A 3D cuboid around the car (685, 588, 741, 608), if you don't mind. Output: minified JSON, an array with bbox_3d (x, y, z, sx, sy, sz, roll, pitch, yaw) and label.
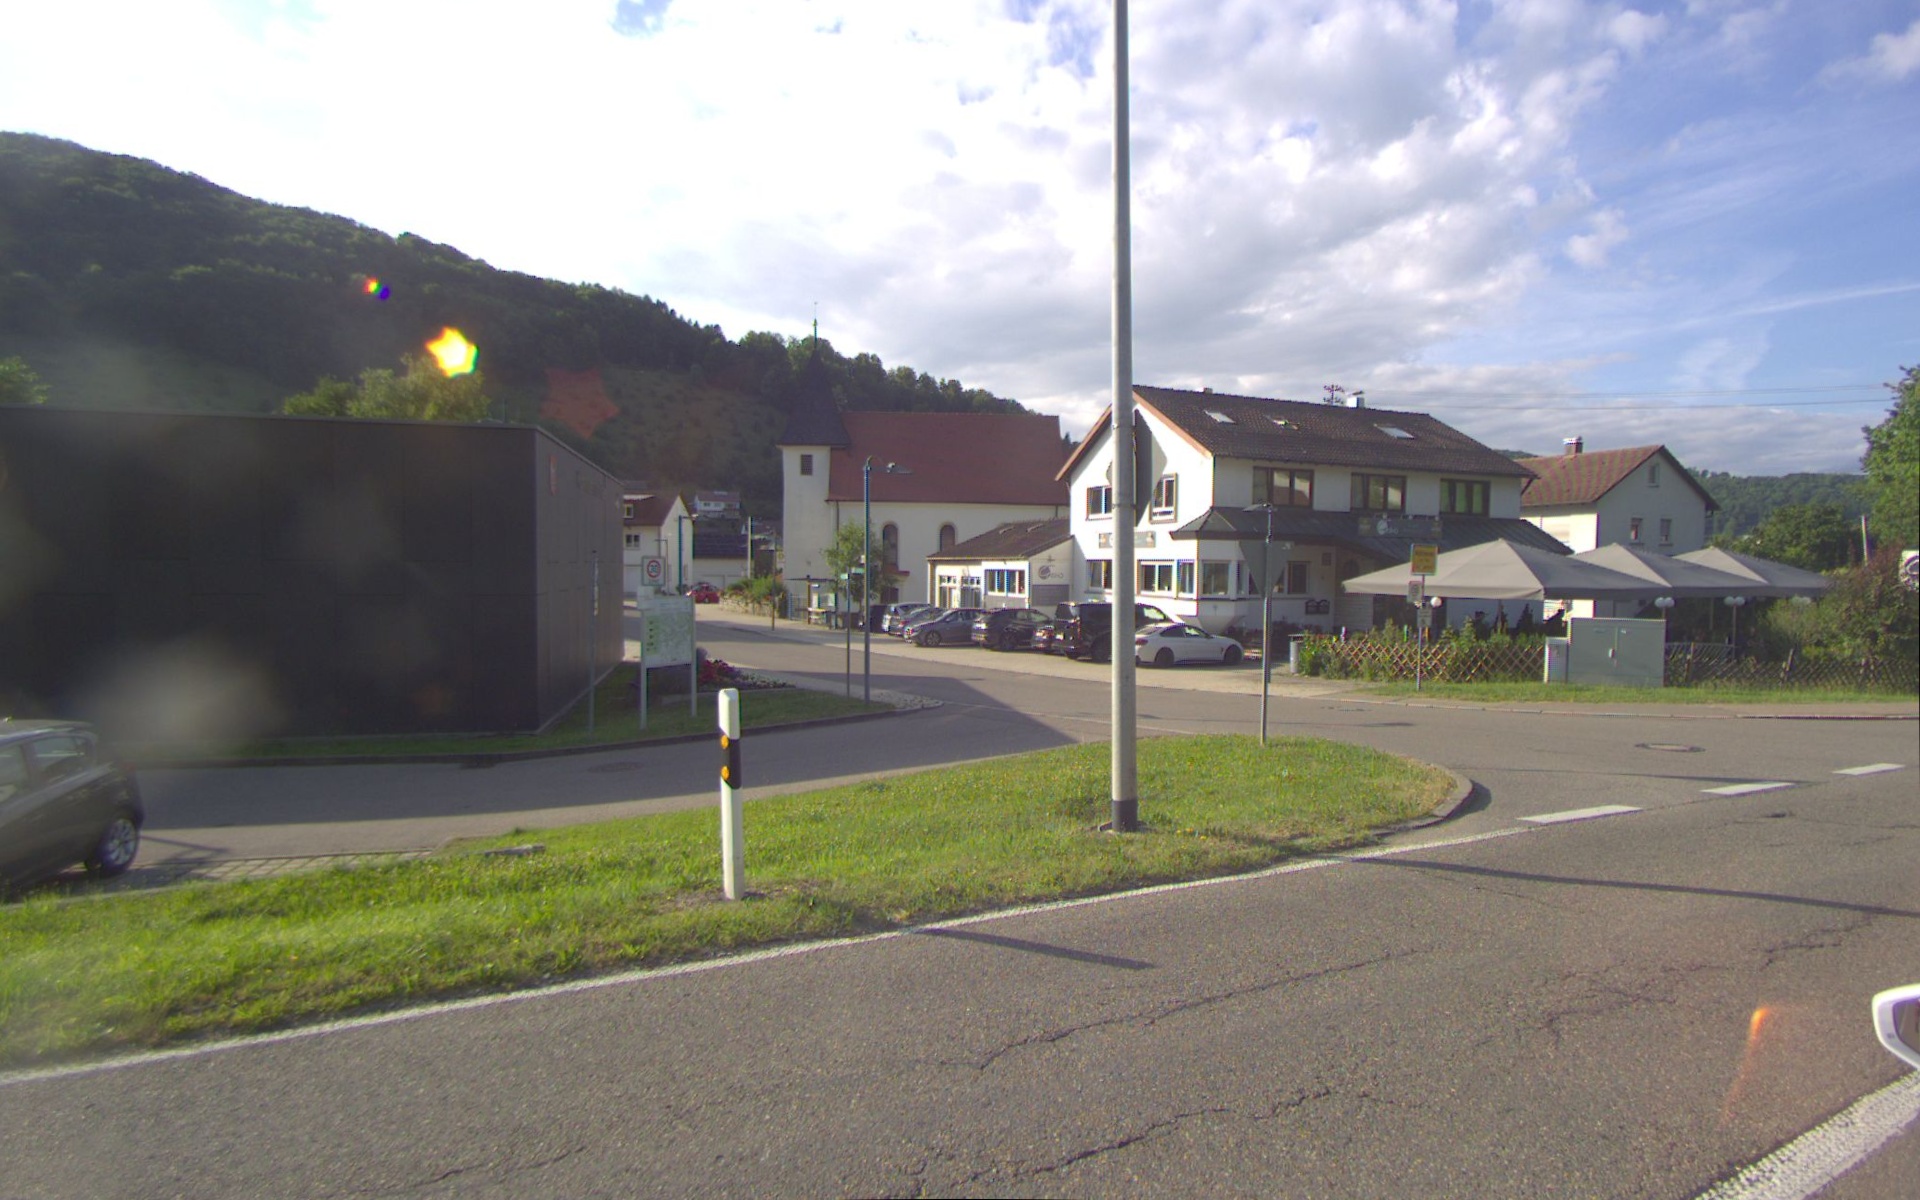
[{"bbox_3d":[-19.891,-0.134,80.844,1.972,1.528,3.977,1,0,43],"label":"car"}]

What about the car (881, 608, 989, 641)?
[{"bbox_3d":[-1.113,1.093,45.475,4.518,1.431,1.986,1,-1,-27],"label":"car"}]

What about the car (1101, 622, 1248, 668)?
[{"bbox_3d":[7.043,1.448,32.937,4.518,1.408,1.986,1,-1,-27],"label":"car"}]

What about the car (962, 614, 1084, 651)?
[{"bbox_3d":[2.541,1.281,40.168,4.518,1.431,1.986,1,-1,-27],"label":"car"}]

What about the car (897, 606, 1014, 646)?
[{"bbox_3d":[-0.175,1.098,42.312,4.518,1.618,1.986,1,-1,-27],"label":"car"}]

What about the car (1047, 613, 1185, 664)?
[{"bbox_3d":[5.464,1.324,35.121,4.518,1.707,1.986,1,-1,-27],"label":"car"}]

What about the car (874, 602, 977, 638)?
[{"bbox_3d":[-1.656,0.978,48.073,4.518,1.665,1.986,1,-1,-27],"label":"car"}]

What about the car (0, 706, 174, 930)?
[{"bbox_3d":[-8.478,1.808,8.056,1.801,1.555,3.992,1,-1,-12],"label":"car"}]

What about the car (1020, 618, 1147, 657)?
[{"bbox_3d":[4.719,1.418,38.271,4.518,1.408,1.986,1,-1,-27],"label":"car"}]
